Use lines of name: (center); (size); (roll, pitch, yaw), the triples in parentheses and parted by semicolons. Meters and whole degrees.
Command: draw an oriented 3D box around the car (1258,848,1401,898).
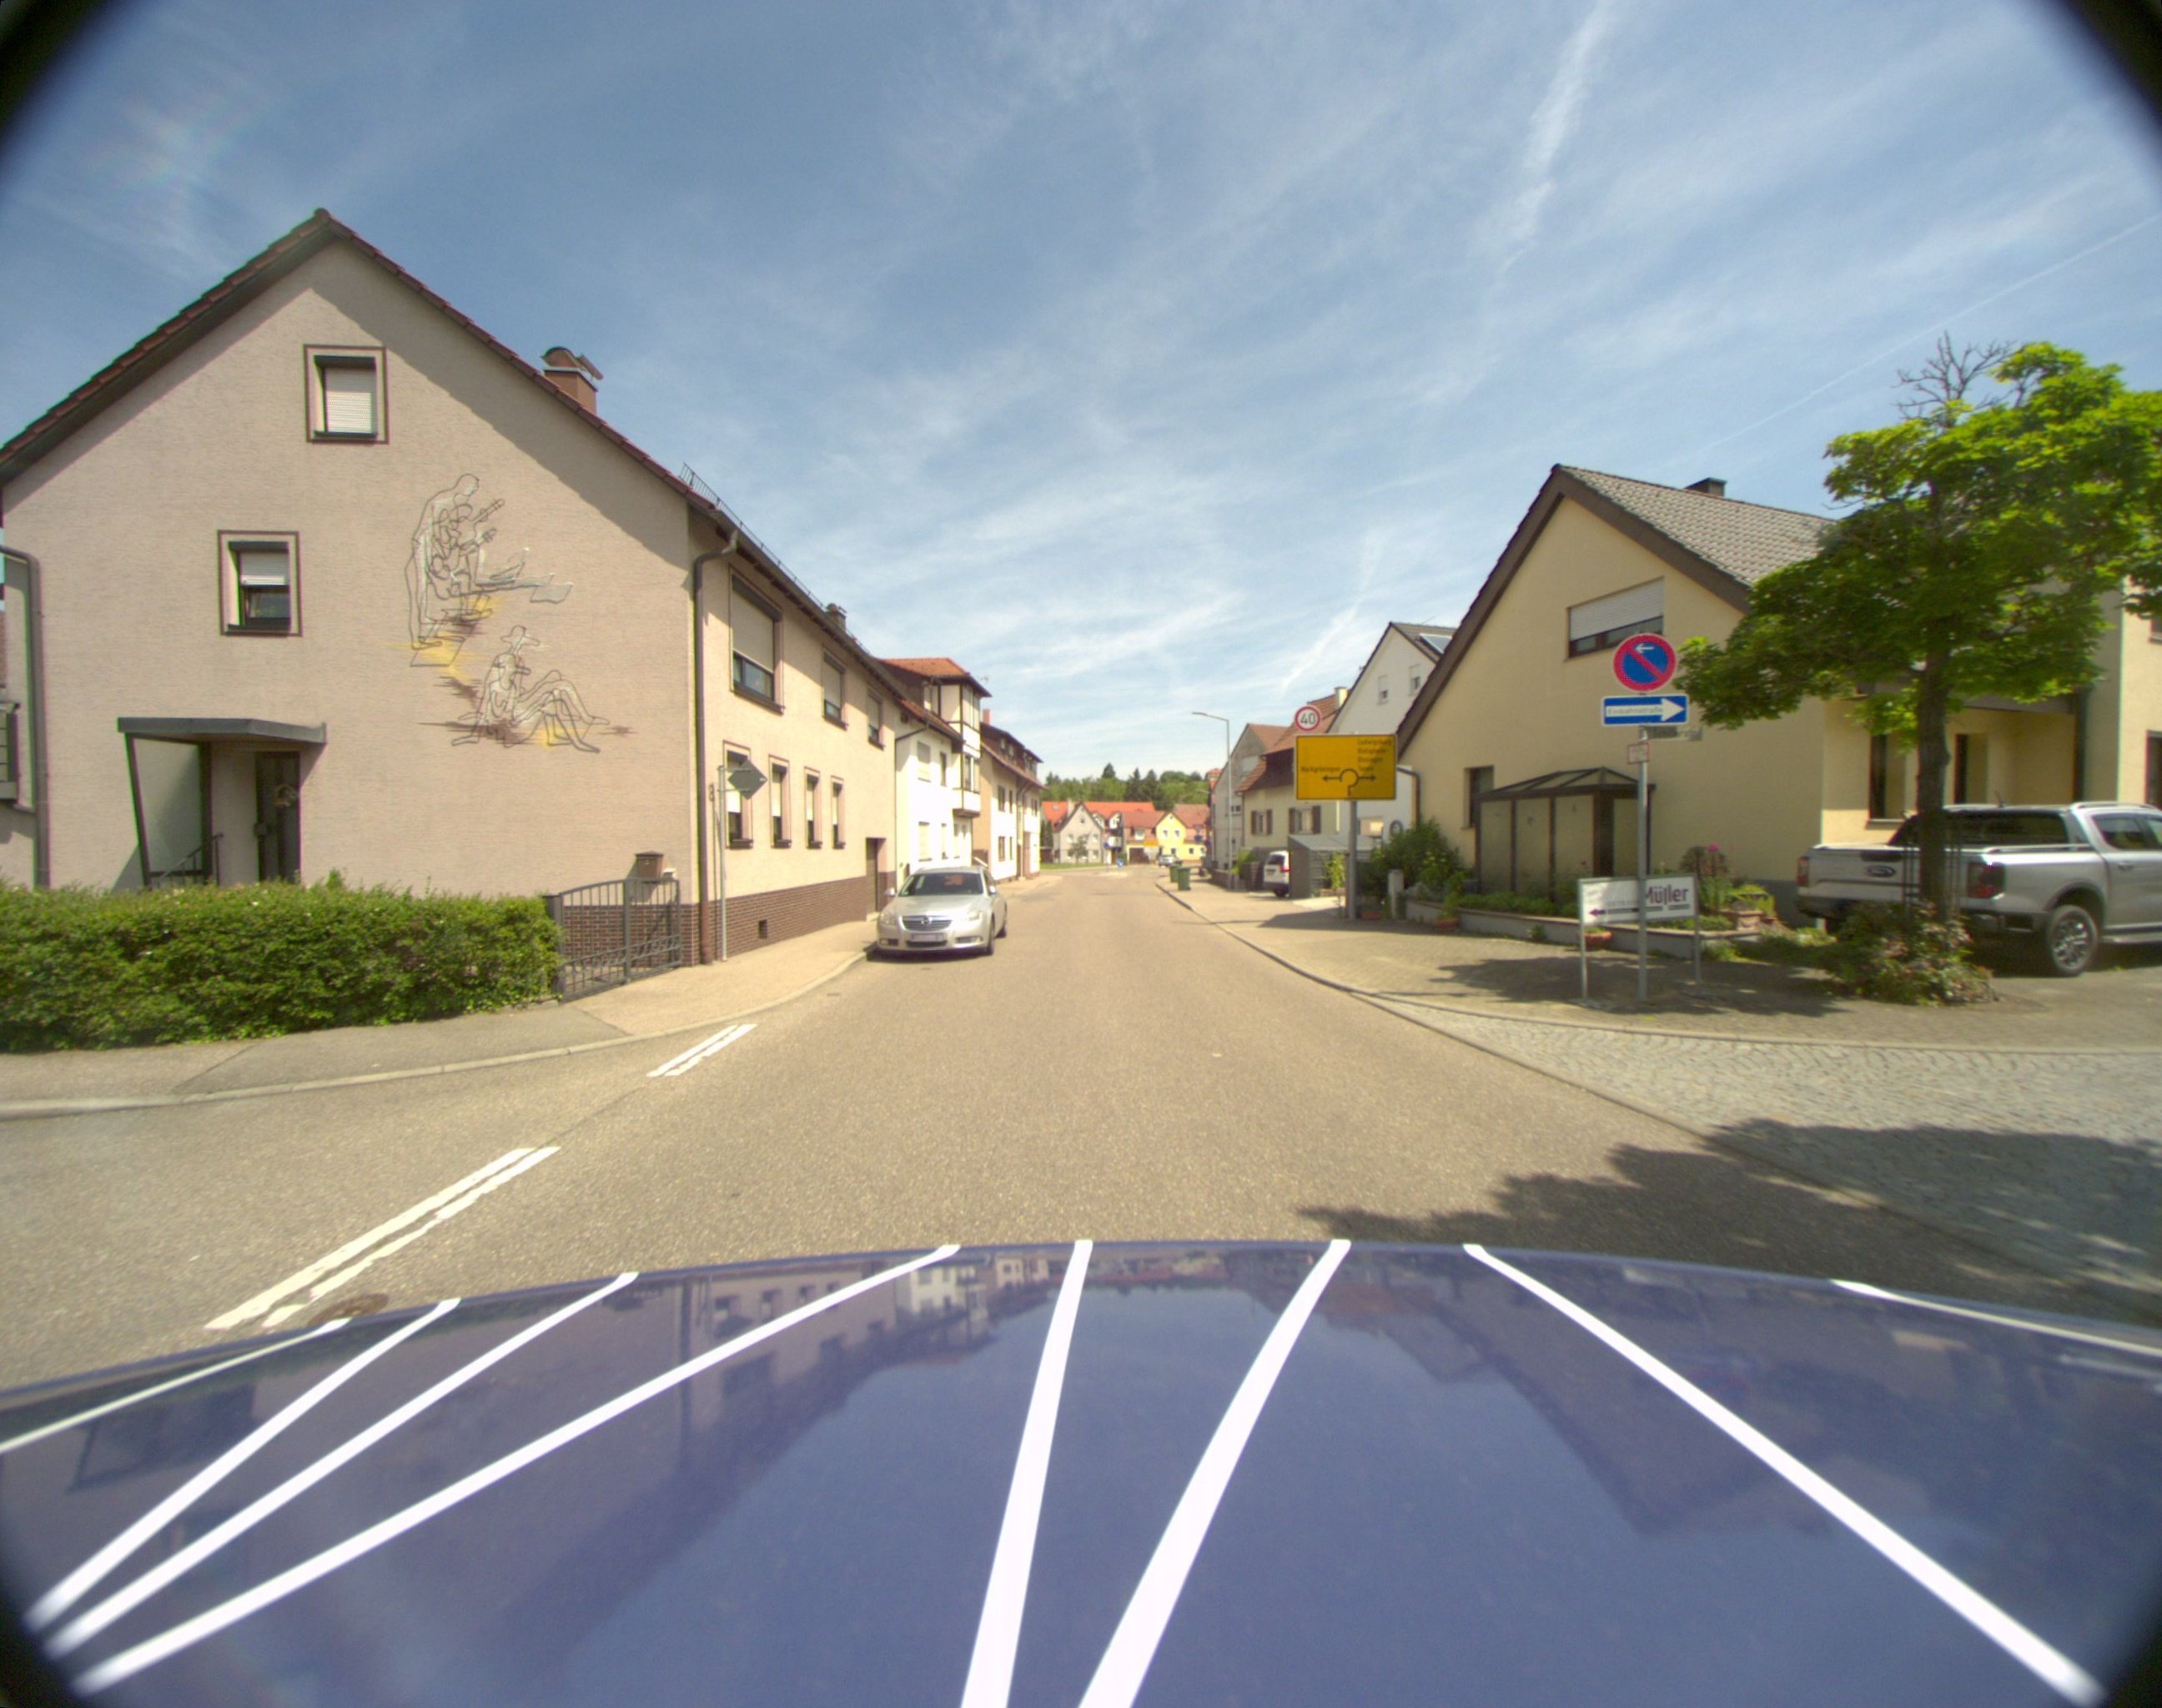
car: (8.776, 0.625, 27.008); (4.416, 1.613, 1.998); (-1, 1, -10)

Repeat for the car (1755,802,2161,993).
car: (11.302, 0.395, 9.127); (5.124, 1.885, 2.173); (-1, 0, -12)

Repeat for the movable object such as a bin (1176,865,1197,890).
movable object such as a bin: (4.631, 1.037, 33.360); (0.827, 1.071, 0.818); (-2, 0, 3)

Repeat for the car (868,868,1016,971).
car: (-2.293, 1.029, 13.670); (1.790, 1.433, 4.337); (-2, 0, 0)

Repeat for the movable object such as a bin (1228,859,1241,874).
movable object such as a bin: (11.171, 0.898, 55.208); (0.686, 1.080, 0.643); (-2, 1, -24)

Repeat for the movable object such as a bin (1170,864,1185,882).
movable object such as a bin: (5.580, 1.087, 44.066); (0.793, 1.051, 0.651); (-1, 0, -1)

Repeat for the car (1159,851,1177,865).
car: (9.962, 0.444, 86.996); (1.959, 1.477, 4.461); (-1, 0, 7)

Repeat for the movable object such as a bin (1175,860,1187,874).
movable object such as a bin: (7.989, 1.025, 60.681); (0.810, 1.039, 0.828); (-1, 0, 13)
